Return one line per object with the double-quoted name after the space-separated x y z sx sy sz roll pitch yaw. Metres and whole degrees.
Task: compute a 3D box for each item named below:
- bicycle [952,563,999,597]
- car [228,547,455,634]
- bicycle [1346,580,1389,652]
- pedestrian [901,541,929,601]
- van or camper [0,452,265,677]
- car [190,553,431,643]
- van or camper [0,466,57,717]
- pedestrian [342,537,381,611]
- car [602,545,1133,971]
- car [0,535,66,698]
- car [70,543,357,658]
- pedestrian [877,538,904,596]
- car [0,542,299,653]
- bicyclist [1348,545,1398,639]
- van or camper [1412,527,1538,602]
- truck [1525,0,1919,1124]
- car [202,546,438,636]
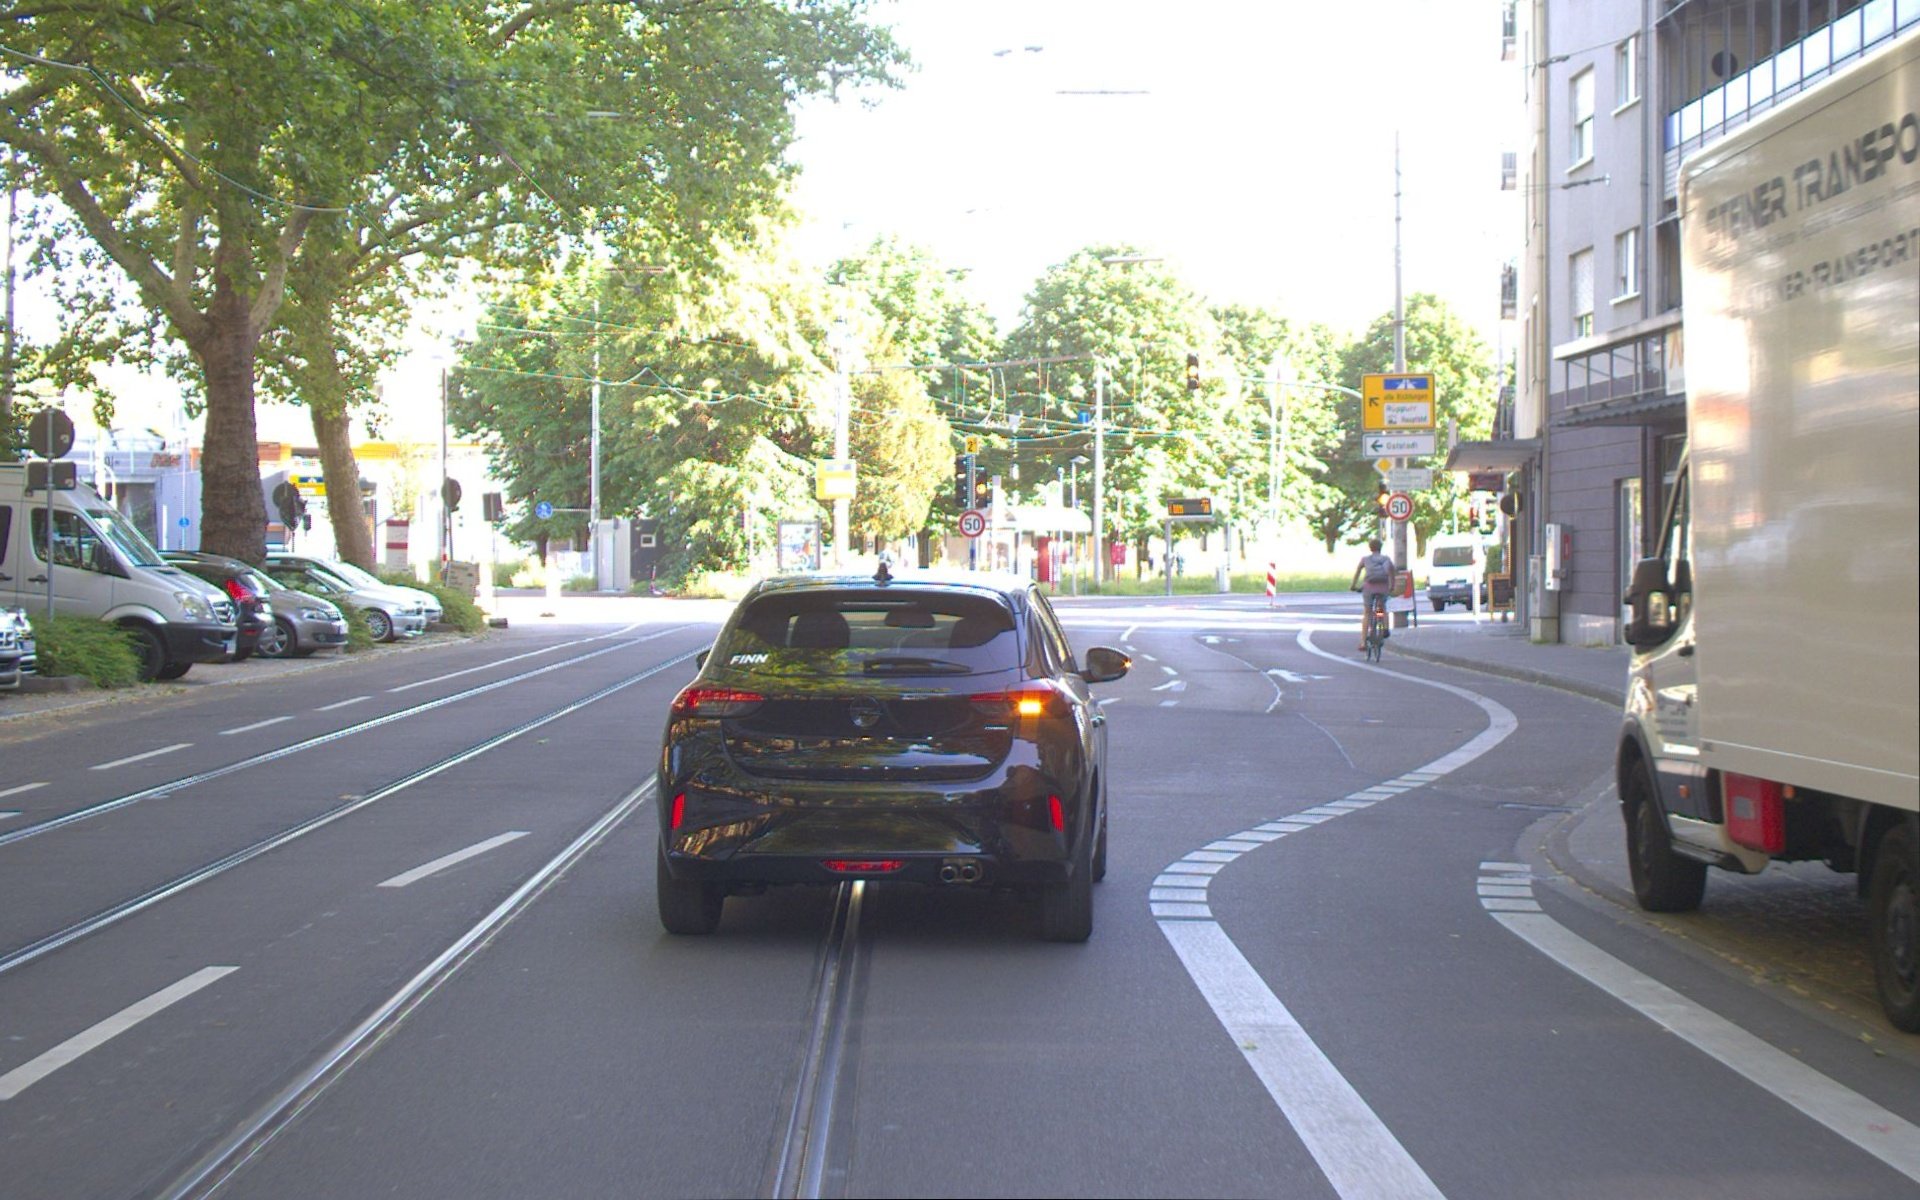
0.471 -0.606 102.427 0.789 0.988 2.241 1 1 16 "bicycle"
-12.075 -0.199 67.309 4.167 1.665 1.965 0 1 -3 "car"
6.232 0.235 52.535 0.508 1.063 1.563 0 1 12 "bicycle"
-1.461 -0.933 111.660 0.658 1.926 0.608 2 0 23 "pedestrian"
-11.666 -0.475 42.298 5.723 2.635 2.269 1 0 0 "van or camper"
-11.660 -0.048 61.908 3.987 1.510 1.650 1 1 1 "car"
-11.774 -0.148 33.069 5.502 2.371 2.269 1 1 3 "van or camper"
-18.030 -0.794 103.571 0.819 2.213 0.899 1 1 -35 "pedestrian"
-0.239 0.535 14.400 1.782 1.491 4.000 1 1 5 "car"
-11.670 0.155 35.985 4.167 1.665 1.965 0 1 -3 "car"
-11.414 0.004 52.716 3.987 1.645 1.650 1 1 1 "car"
-2.252 -1.077 111.585 0.617 1.847 0.583 2 0 27 "pedestrian"
-11.856 -0.045 50.334 3.987 1.510 1.650 1 1 1 "car"
6.316 -0.130 52.584 0.706 1.431 0.702 0 1 12 "bicyclist"
15.202 -1.029 101.300 2.172 2.138 4.498 2 1 30 "van or camper"
3.953 -0.242 12.327 2.538 3.326 7.195 -2 1 0 "truck"
-12.024 -0.186 64.830 4.167 1.665 1.965 0 1 -3 "car"
